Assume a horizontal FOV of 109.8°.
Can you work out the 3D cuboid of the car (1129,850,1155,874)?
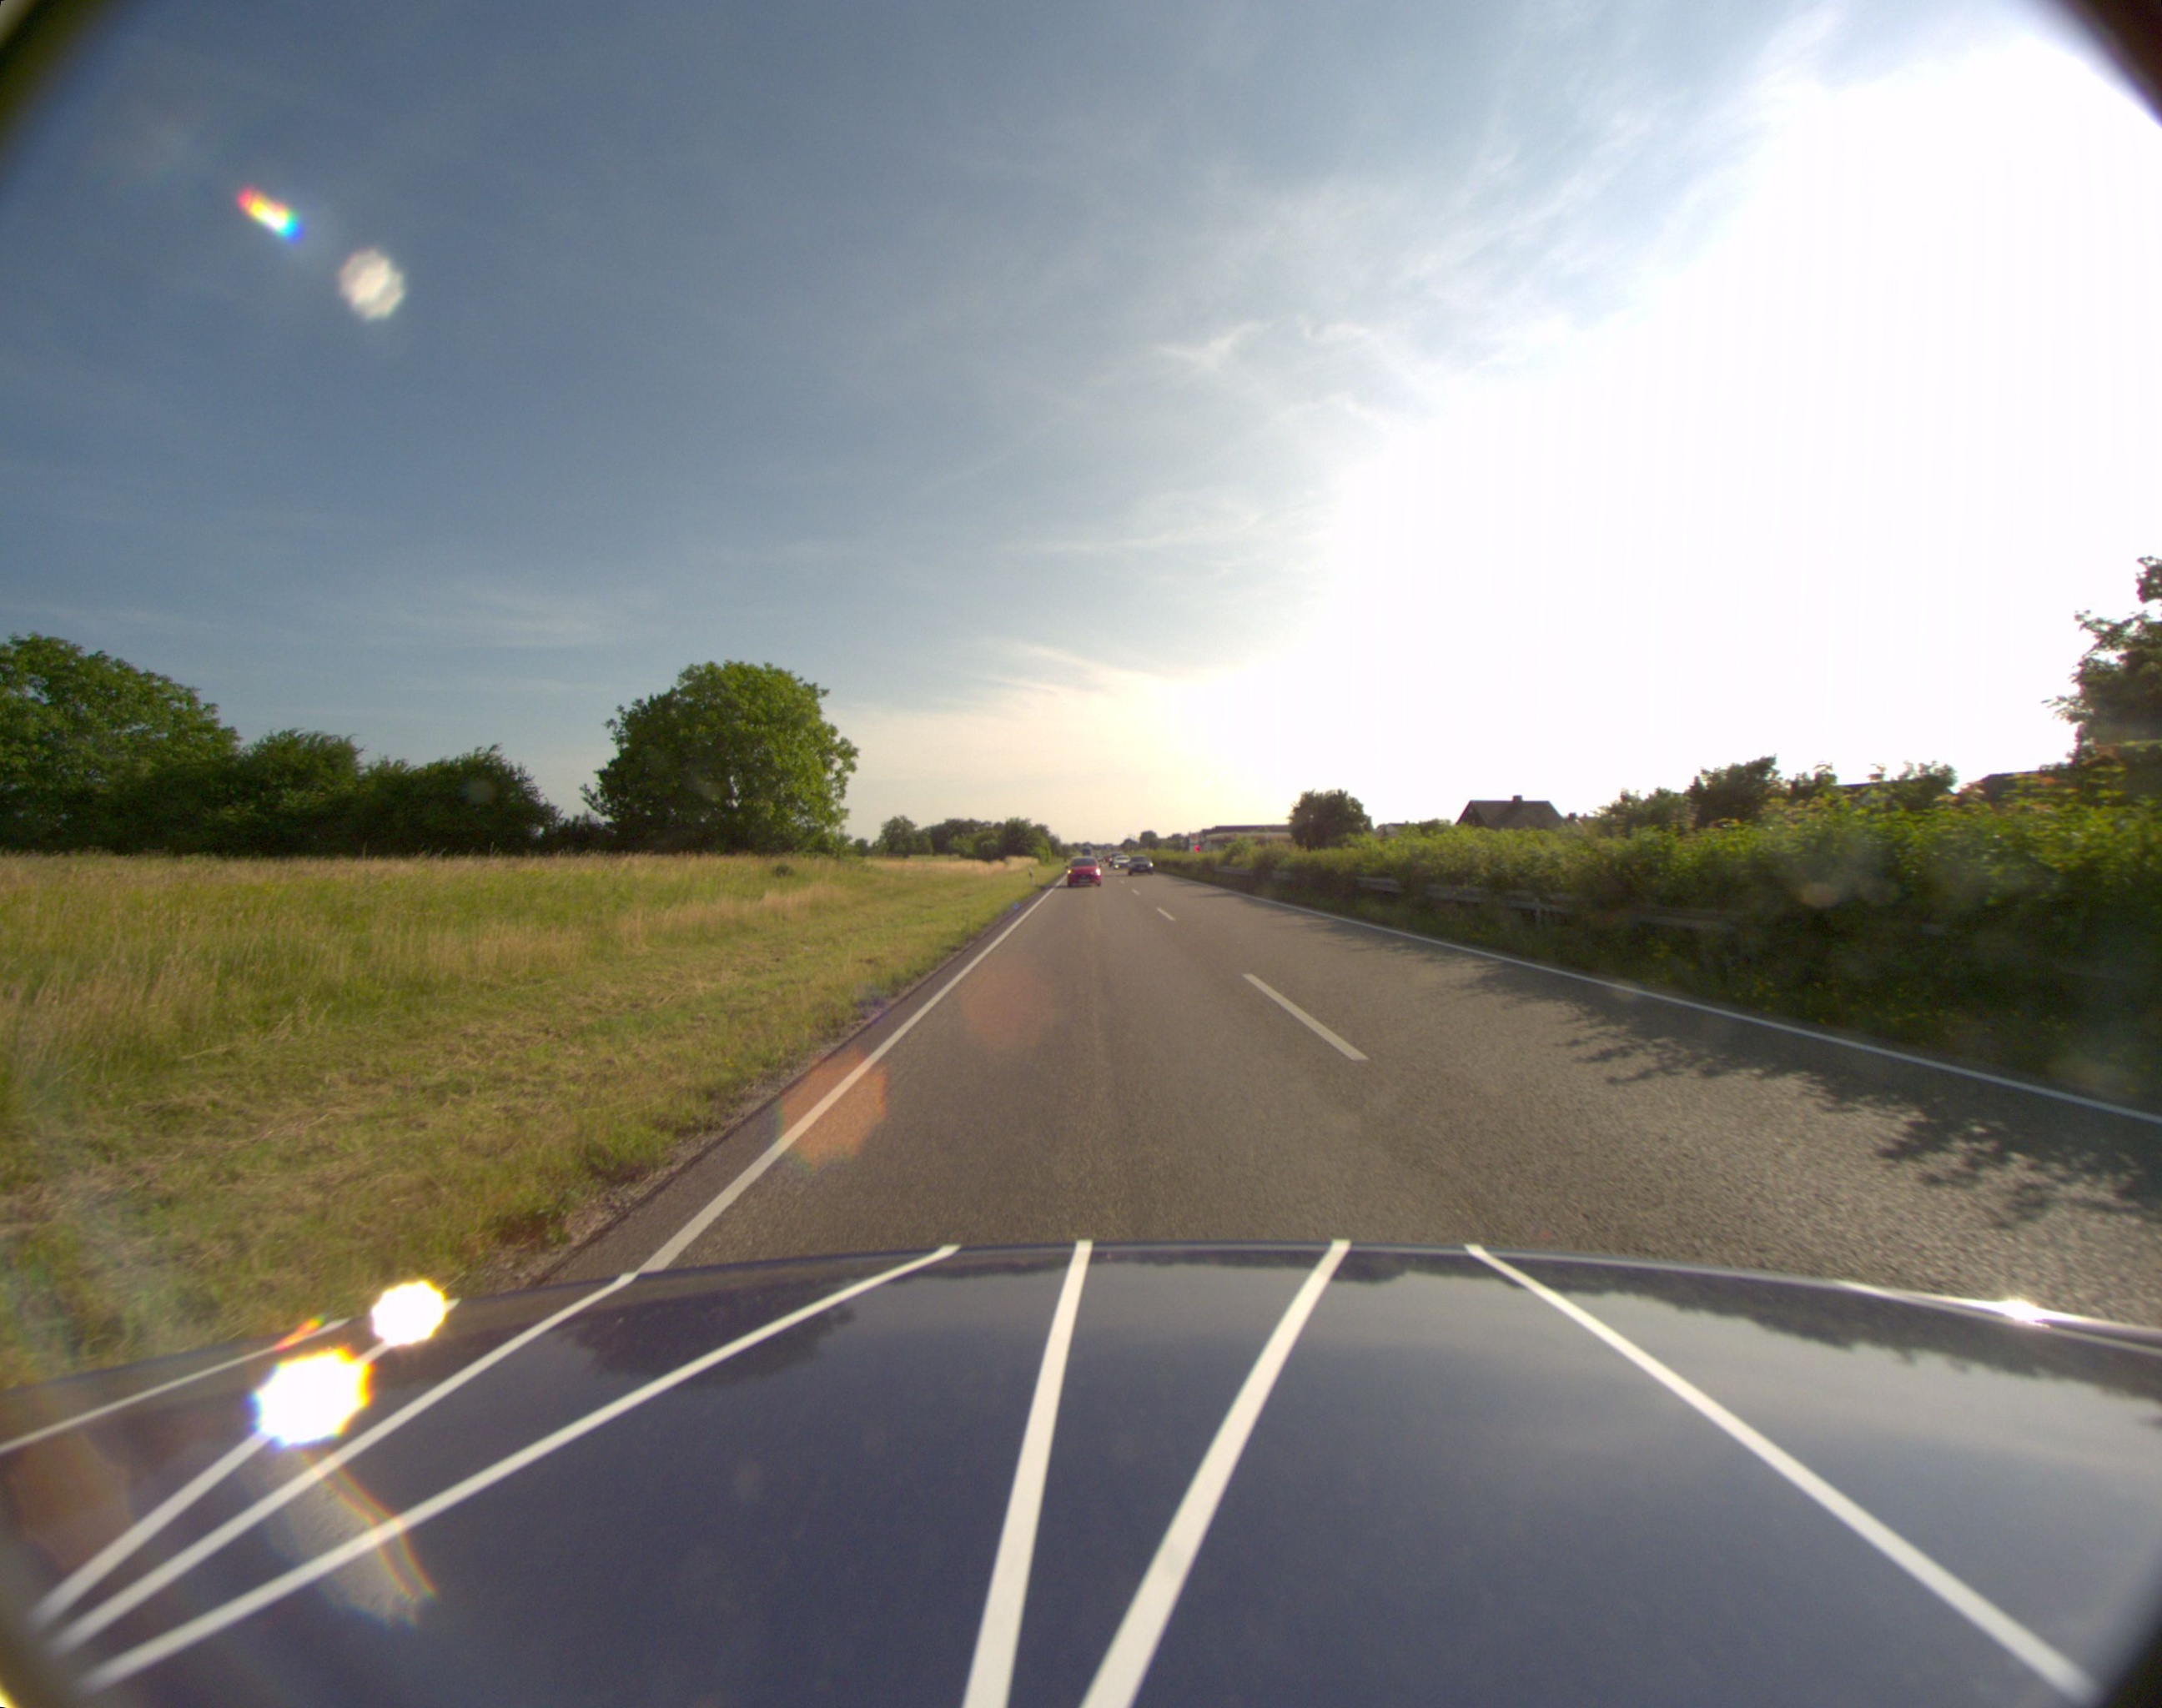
[{"bbox_3d":[4.506,0.558,56.544,1.693,1.695,4.000,-2,1,1],"label":"car"}]

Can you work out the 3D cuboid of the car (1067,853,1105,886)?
[{"bbox_3d":[0.319,0.760,39.364,1.821,1.565,4.000,-2,1,2],"label":"car"}]

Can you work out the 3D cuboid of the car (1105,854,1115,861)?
[{"bbox_3d":[5.850,0.663,153.871,1.998,1.412,4.000,-2,1,2],"label":"car"}]

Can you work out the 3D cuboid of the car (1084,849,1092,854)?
[{"bbox_3d":[1.973,-0.733,216.370,1.998,1.412,4.000,-2,1,2],"label":"car"}]

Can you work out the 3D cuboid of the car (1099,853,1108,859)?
[{"bbox_3d":[5.368,0.410,182.151,1.998,1.412,4.000,-2,1,2],"label":"car"}]

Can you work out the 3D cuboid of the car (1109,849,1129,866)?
[{"bbox_3d":[4.037,0.354,81.886,1.998,1.762,4.000,-2,1,2],"label":"car"}]
